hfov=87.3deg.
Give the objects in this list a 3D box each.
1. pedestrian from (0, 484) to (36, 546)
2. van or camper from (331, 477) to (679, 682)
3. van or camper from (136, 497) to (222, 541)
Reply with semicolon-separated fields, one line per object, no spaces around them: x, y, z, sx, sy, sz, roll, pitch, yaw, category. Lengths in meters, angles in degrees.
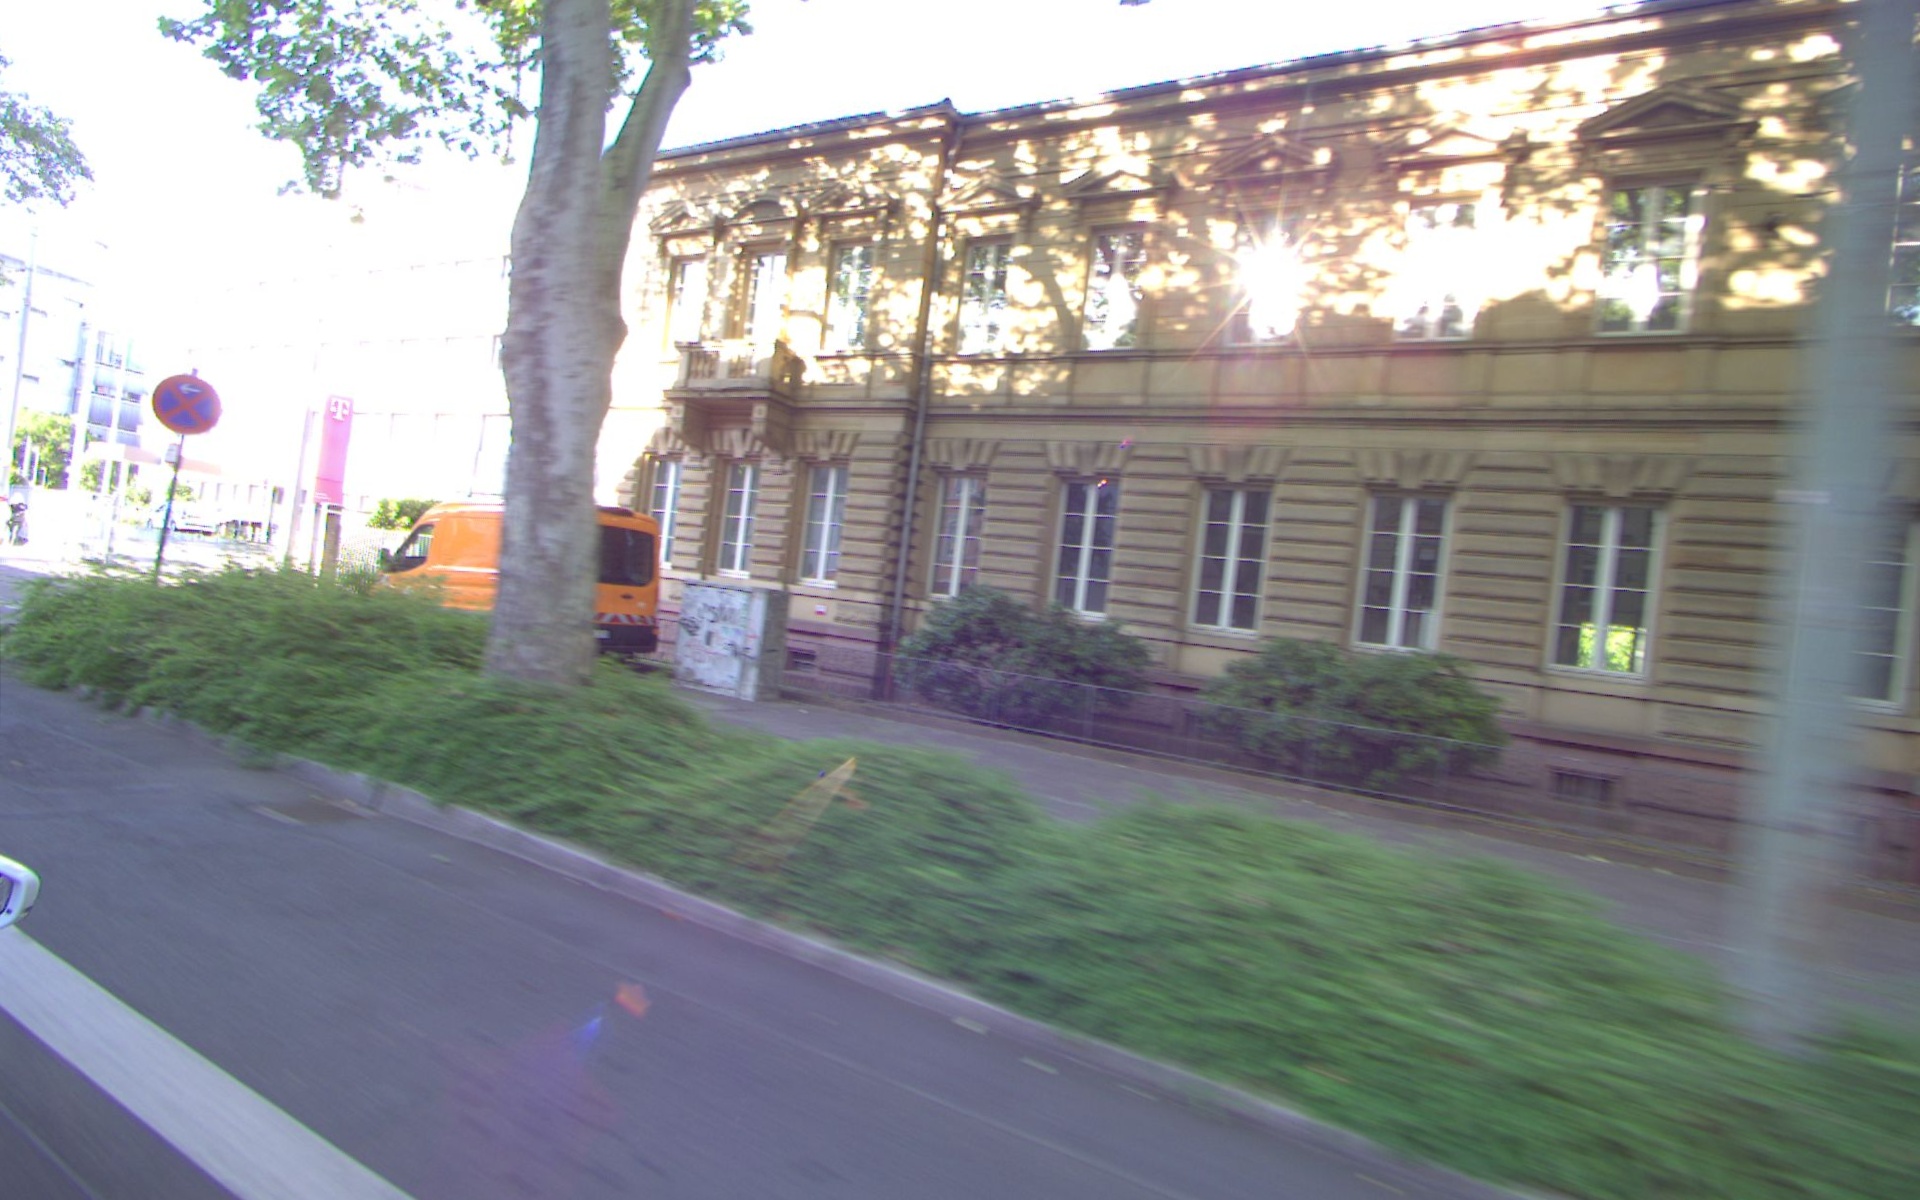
-28.177;-2.517;29.976;0.692;1.704;0.921;7;0;-36;pedestrian
-7.415;-0.387;16.160;5.677;2.590;2.039;7;-1;32;van or camper
-44.640;-4.625;57.493;4.914;1.932;1.984;7;0;29;van or camper
